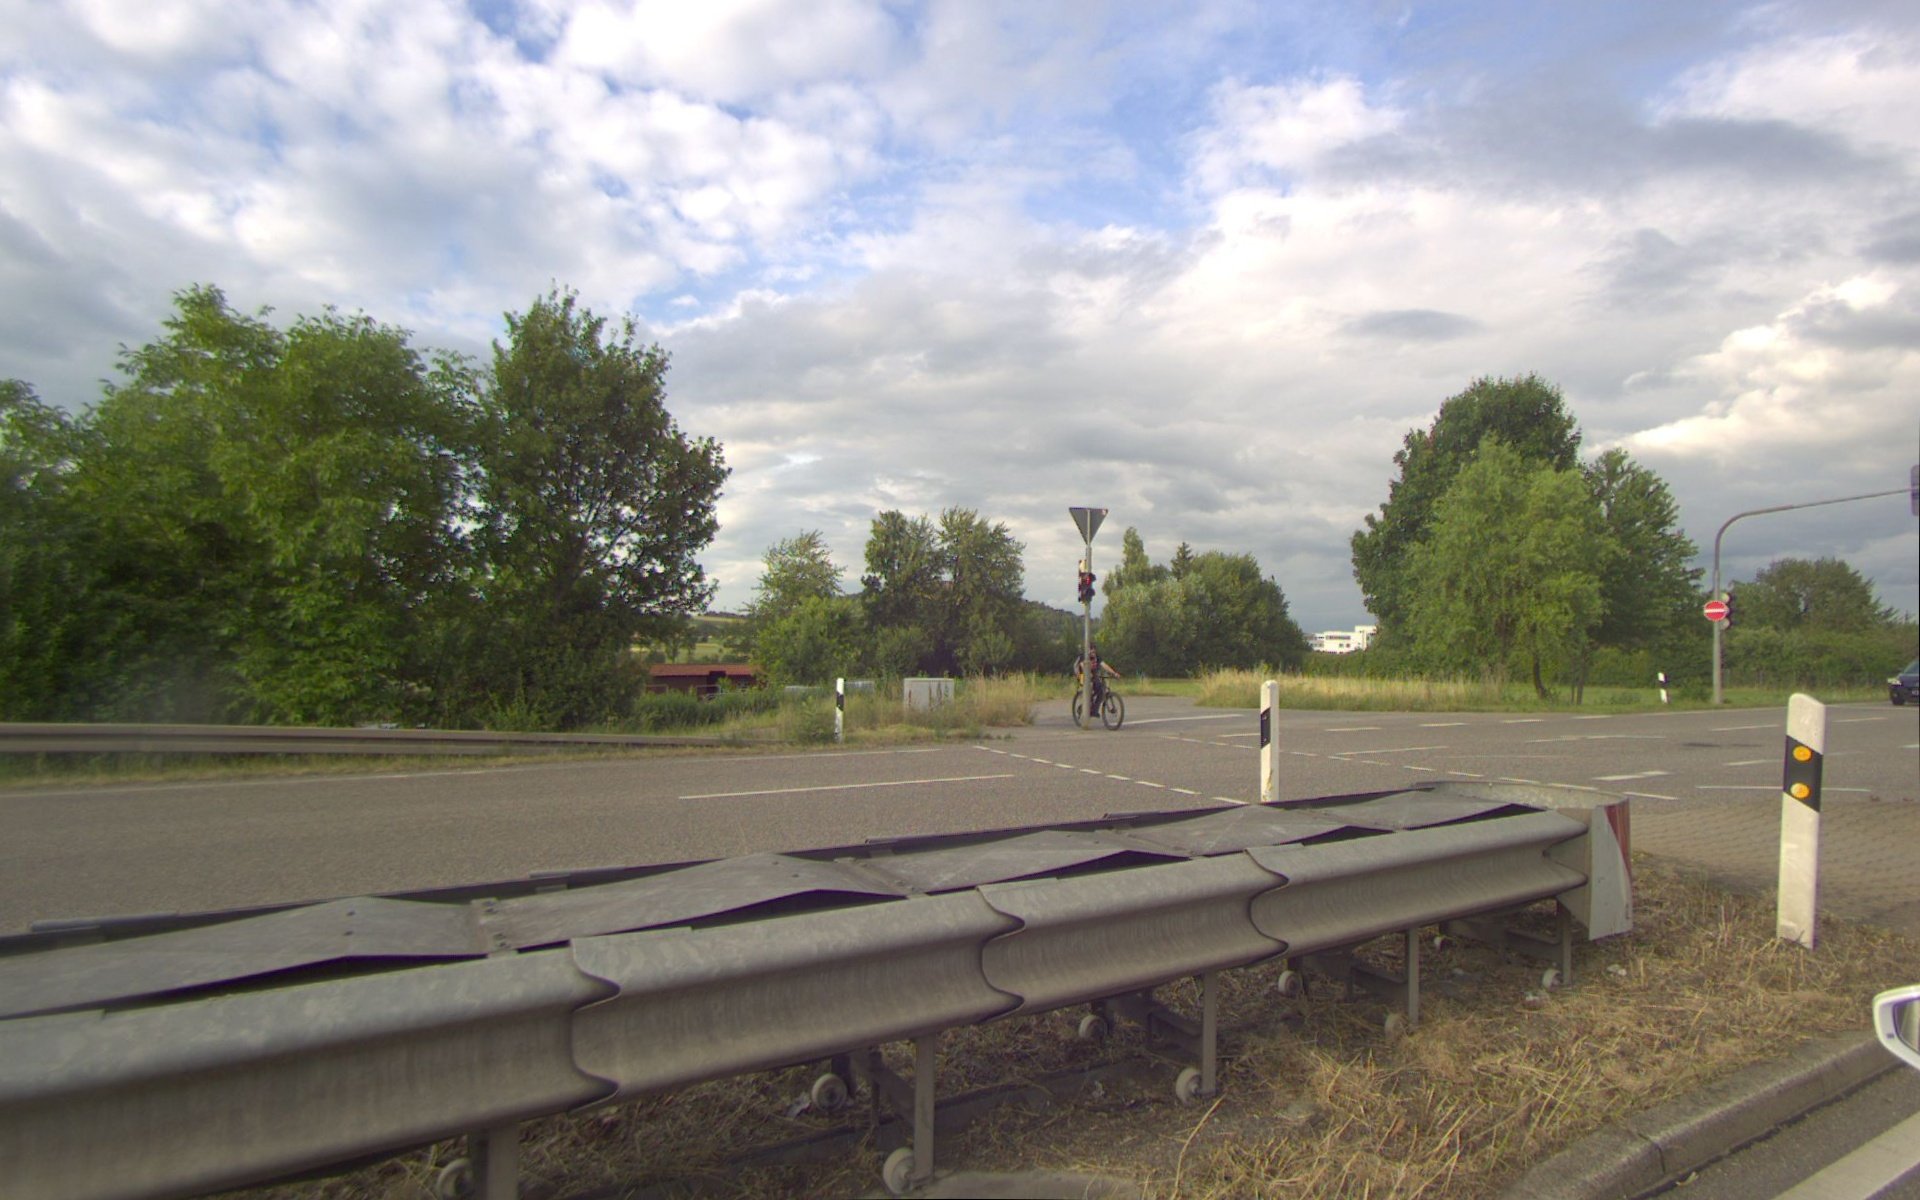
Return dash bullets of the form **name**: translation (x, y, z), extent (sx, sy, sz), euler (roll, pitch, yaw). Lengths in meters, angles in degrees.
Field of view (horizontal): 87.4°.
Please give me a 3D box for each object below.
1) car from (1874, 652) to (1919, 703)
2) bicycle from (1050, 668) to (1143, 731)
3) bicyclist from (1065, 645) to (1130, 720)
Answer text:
- **car**: translation (31.531, 2.455, 32.212), extent (4.881, 1.555, 1.899), euler (2, -3, -30)
- **bicycle**: translation (2.754, 2.007, 20.605), extent (0.804, 1.152, 2.314), euler (1, -3, -24)
- **bicyclist**: translation (2.795, 1.659, 20.525), extent (0.804, 1.470, 1.219), euler (1, -2, -24)
